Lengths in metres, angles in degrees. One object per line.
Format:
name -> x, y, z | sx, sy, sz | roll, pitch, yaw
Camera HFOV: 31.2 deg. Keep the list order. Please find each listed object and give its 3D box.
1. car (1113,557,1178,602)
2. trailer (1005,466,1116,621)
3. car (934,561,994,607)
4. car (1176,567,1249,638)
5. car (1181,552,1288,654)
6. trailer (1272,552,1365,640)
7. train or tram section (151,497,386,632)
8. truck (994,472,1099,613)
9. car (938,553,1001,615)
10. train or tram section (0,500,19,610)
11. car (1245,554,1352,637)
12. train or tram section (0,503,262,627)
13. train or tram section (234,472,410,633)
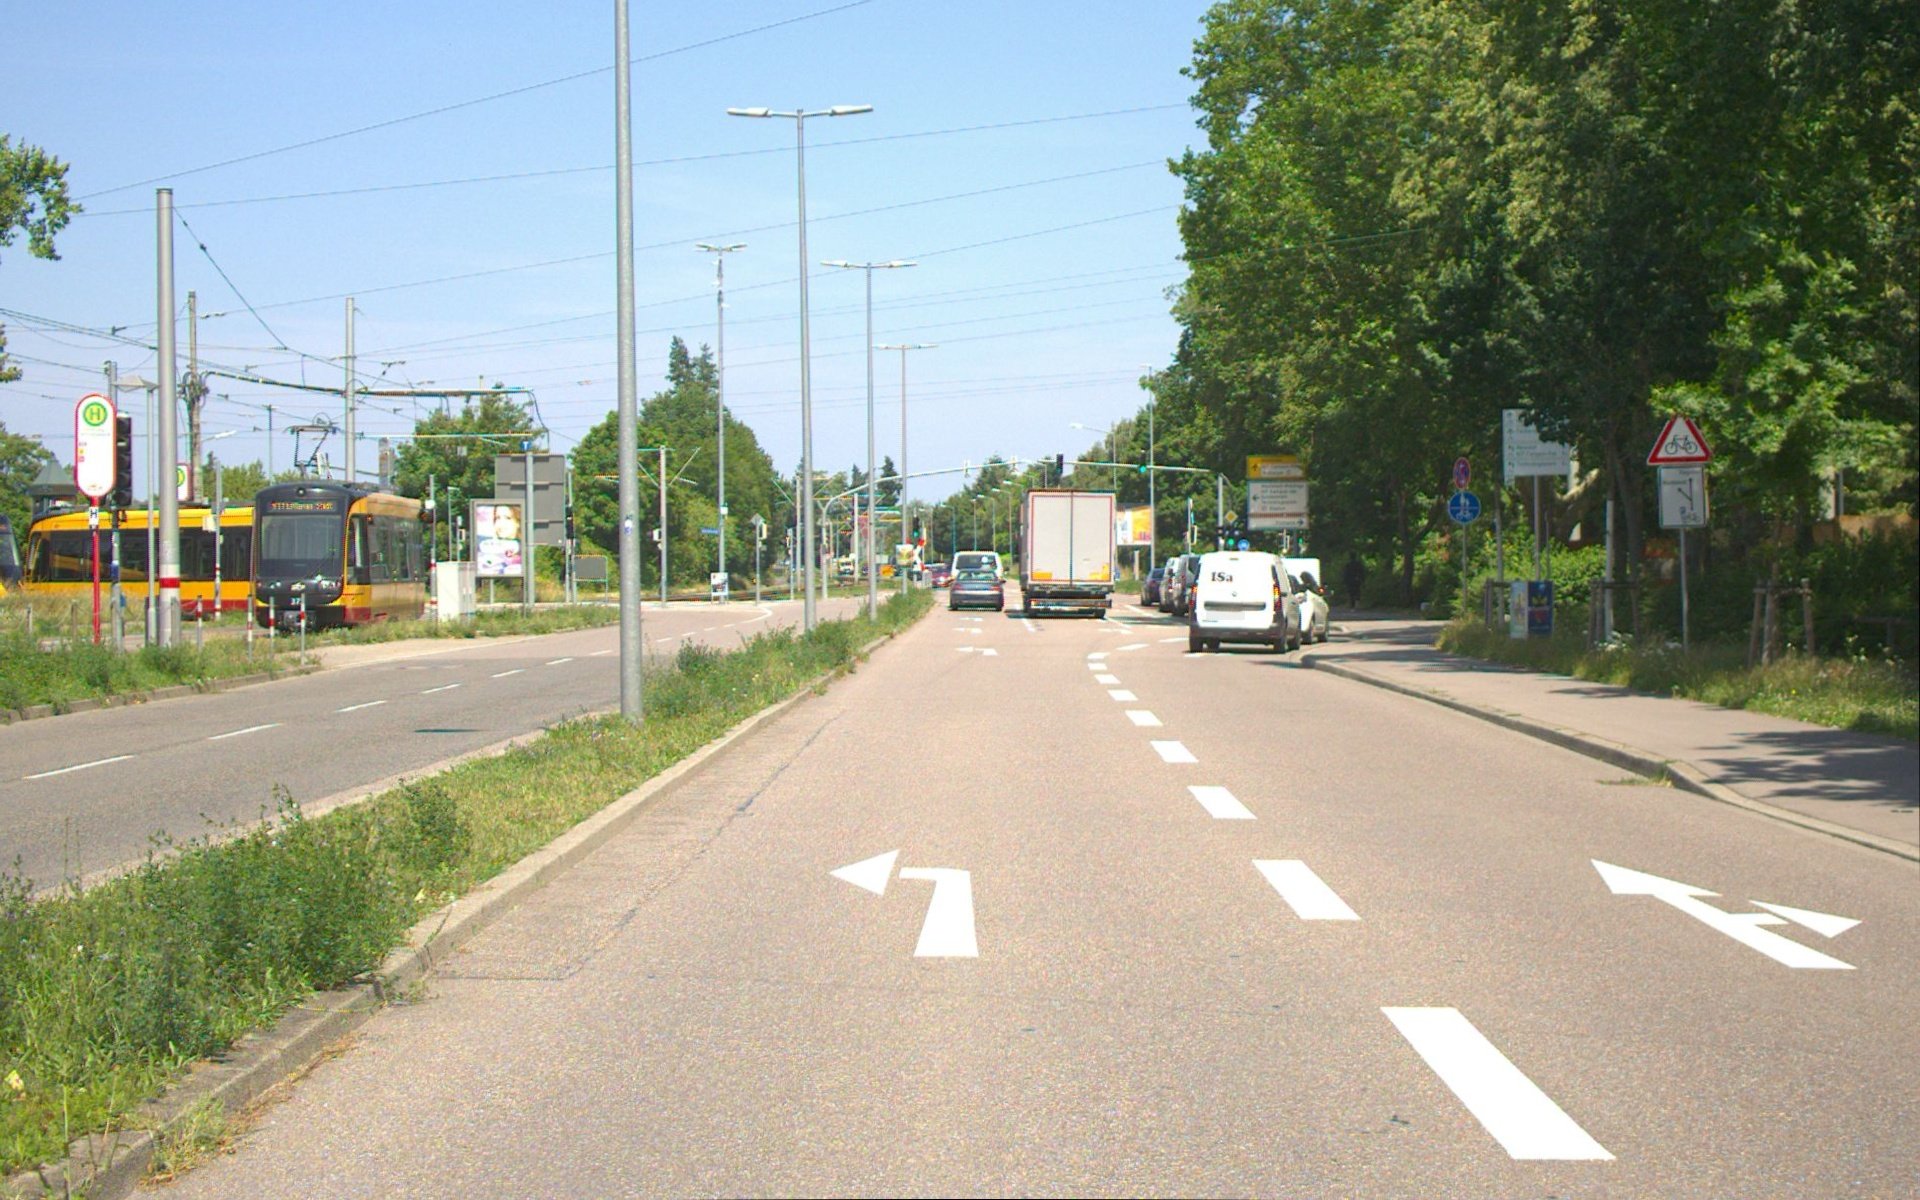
car -> 6.273, -0.715, 116.400 | 1.993, 1.432, 4.251 | 0, 1, 0
trailer -> 2.949, -1.701, 103.418 | 2.827, 4.406, 8.750 | 1, 1, -1
car -> 0.114, -0.526, 114.614 | 1.892, 1.367, 4.430 | 2, -1, 0
car -> 7.844, 0.053, 106.994 | 1.891, 2.114, 3.887 | 1, 1, -1
car -> 4.904, 0.017, 61.872 | 1.709, 1.741, 4.427 | 1, 1, 2
trailer -> 7.053, -0.093, 67.829 | 1.468, 1.663, 2.856 | 1, 1, -1
train or tram section -> -18.907, -1.022, 93.359 | 3.036, 3.454, 10.225 | 1, 1, -30
truck -> 2.755, -1.904, 112.002 | 2.827, 4.329, 8.285 | 2, 1, -2
car -> 0.317, -0.583, 121.482 | 1.993, 2.104, 4.748 | 0, 1, -3
train or tram section -> -36.453, -1.546, 108.586 | 12.712, 3.454, 3.045 | 1, 1, 7
car -> 7.010, -0.122, 71.460 | 1.699, 1.648, 4.399 | 1, 1, -1
train or tram section -> -25.776, -1.109, 101.996 | 12.741, 3.454, 3.039 | 2, 1, 43
train or tram section -> -15.041, -1.143, 81.945 | 3.036, 3.454, 13.295 | 1, 1, -6
